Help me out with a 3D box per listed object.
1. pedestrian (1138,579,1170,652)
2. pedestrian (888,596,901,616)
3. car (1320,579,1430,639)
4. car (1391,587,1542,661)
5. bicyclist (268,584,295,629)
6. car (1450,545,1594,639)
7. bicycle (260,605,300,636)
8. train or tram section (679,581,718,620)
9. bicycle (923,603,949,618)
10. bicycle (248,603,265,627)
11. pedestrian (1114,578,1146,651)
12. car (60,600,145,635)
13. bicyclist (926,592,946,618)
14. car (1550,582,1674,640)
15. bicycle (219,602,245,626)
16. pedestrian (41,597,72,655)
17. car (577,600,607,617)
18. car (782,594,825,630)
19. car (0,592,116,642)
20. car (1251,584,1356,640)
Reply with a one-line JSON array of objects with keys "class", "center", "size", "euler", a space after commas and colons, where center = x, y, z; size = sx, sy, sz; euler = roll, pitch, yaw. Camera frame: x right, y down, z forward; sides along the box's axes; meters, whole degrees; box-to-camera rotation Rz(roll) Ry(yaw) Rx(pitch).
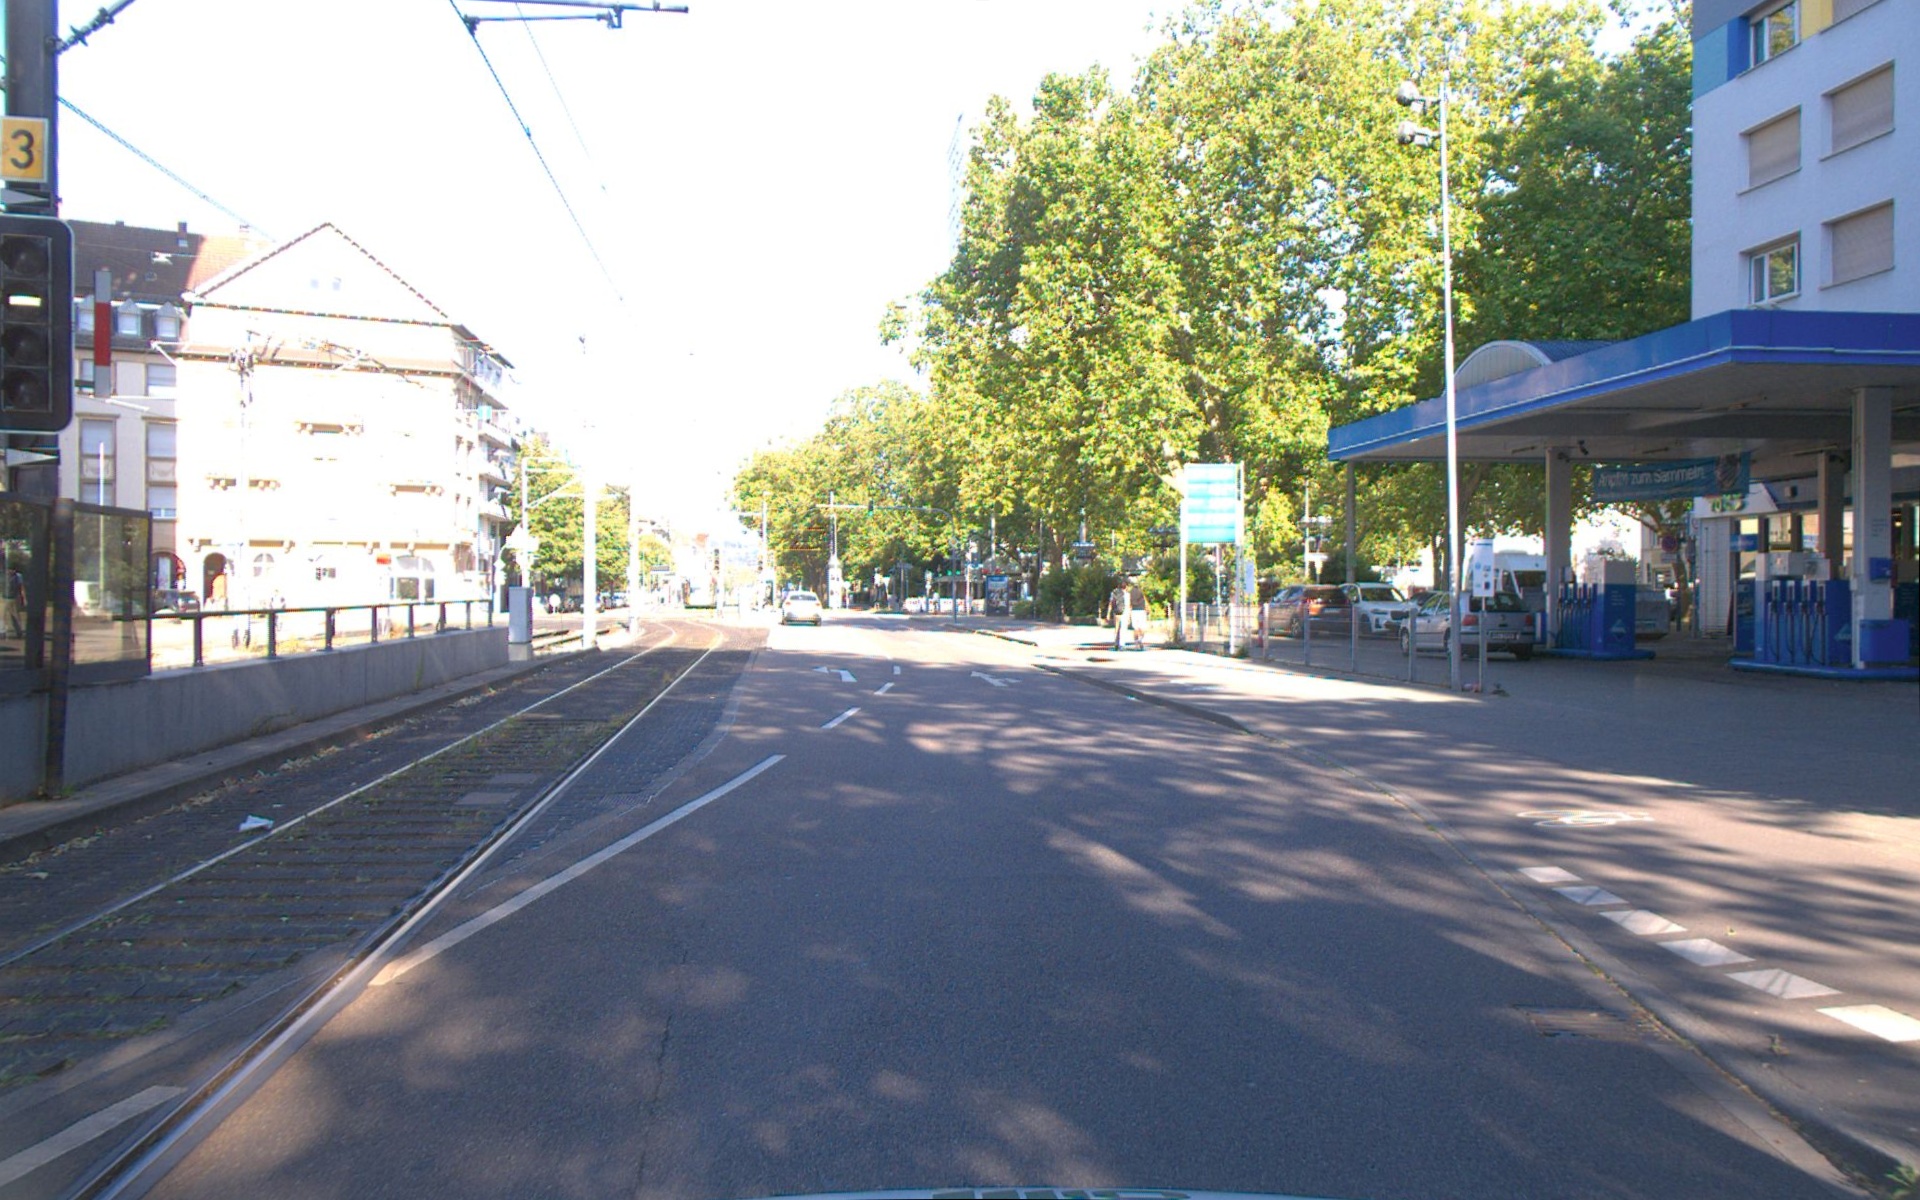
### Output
[{"class": "pedestrian", "center": [4.941, 0.396, 42.182], "size": [0.591, 1.807, 0.689], "euler": [-4, 0, -3]}, {"class": "pedestrian", "center": [-4.844, 0.436, 122.462], "size": [0.646, 1.412, 0.831], "euler": [2, 0, 26]}, {"class": "car", "center": [13.017, 0.243, 52.143], "size": [1.824, 1.765, 4.792], "euler": [0, 1, -6]}, {"class": "car", "center": [10.615, 0.480, 34.964], "size": [1.537, 1.455, 4.092], "euler": [-1, 0, -7]}, {"class": "bicyclist", "center": [-27.263, 0.259, 66.472], "size": [0.618, 1.753, 0.916], "euler": [-2, 0, 0]}, {"class": "car", "center": [18.122, -0.260, 53.666], "size": [2.197, 2.882, 5.789], "euler": [0, 0, -6]}, {"class": "bicycle", "center": [-27.248, 0.816, 66.331], "size": [0.618, 1.164, 2.279], "euler": [-2, 0, 1]}, {"class": "train or tram section", "center": [-24.429, 0.036, 154.845], "size": [2.895, 3.470, 10.777], "euler": [2, 0, -6]}, {"class": "bicycle", "center": [-1.638, 0.714, 112.643], "size": [1.178, 0.951, 2.565], "euler": [2, 0, -13]}, {"class": "bicycle", "center": [-41.086, 0.854, 96.633], "size": [0.811, 1.305, 2.545], "euler": [2, 0, -25]}, {"class": "pedestrian", "center": [4.318, 0.367, 42.044], "size": [0.591, 1.807, 0.878], "euler": [-4, 0, -3]}, {"class": "car", "center": [-48.077, 0.994, 92.703], "size": [4.496, 1.783, 1.997], "euler": [2, 0, 28]}, {"class": "bicyclist", "center": [-1.636, 0.329, 112.692], "size": [1.178, 1.726, 0.901], "euler": [2, 0, -13]}, {"class": "car", "center": [20.676, 0.318, 52.604], "size": [1.956, 1.769, 3.993], "euler": [0, 0, -8]}, {"class": "bicycle", "center": [-42.348, 0.805, 96.152], "size": [0.815, 1.305, 2.531], "euler": [2, 0, -37]}, {"class": "pedestrian", "center": [-30.442, 0.876, 55.743], "size": [0.593, 1.920, 0.756], "euler": [2, 0, -4]}, {"class": "car", "center": [-32.330, 0.740, 145.417], "size": [1.955, 1.474, 4.834], "euler": [-1, 0, -6]}, {"class": "car", "center": [-6.898, 0.504, 72.734], "size": [1.712, 1.487, 3.639], "euler": [2, 0, -7]}, {"class": "car", "center": [-35.031, 0.641, 63.781], "size": [3.908, 1.787, 1.893], "euler": [2, 0, -4]}, {"class": "car", "center": [10.860, 0.335, 52.642], "size": [1.783, 1.630, 4.653], "euler": [0, 1, -9]}]
